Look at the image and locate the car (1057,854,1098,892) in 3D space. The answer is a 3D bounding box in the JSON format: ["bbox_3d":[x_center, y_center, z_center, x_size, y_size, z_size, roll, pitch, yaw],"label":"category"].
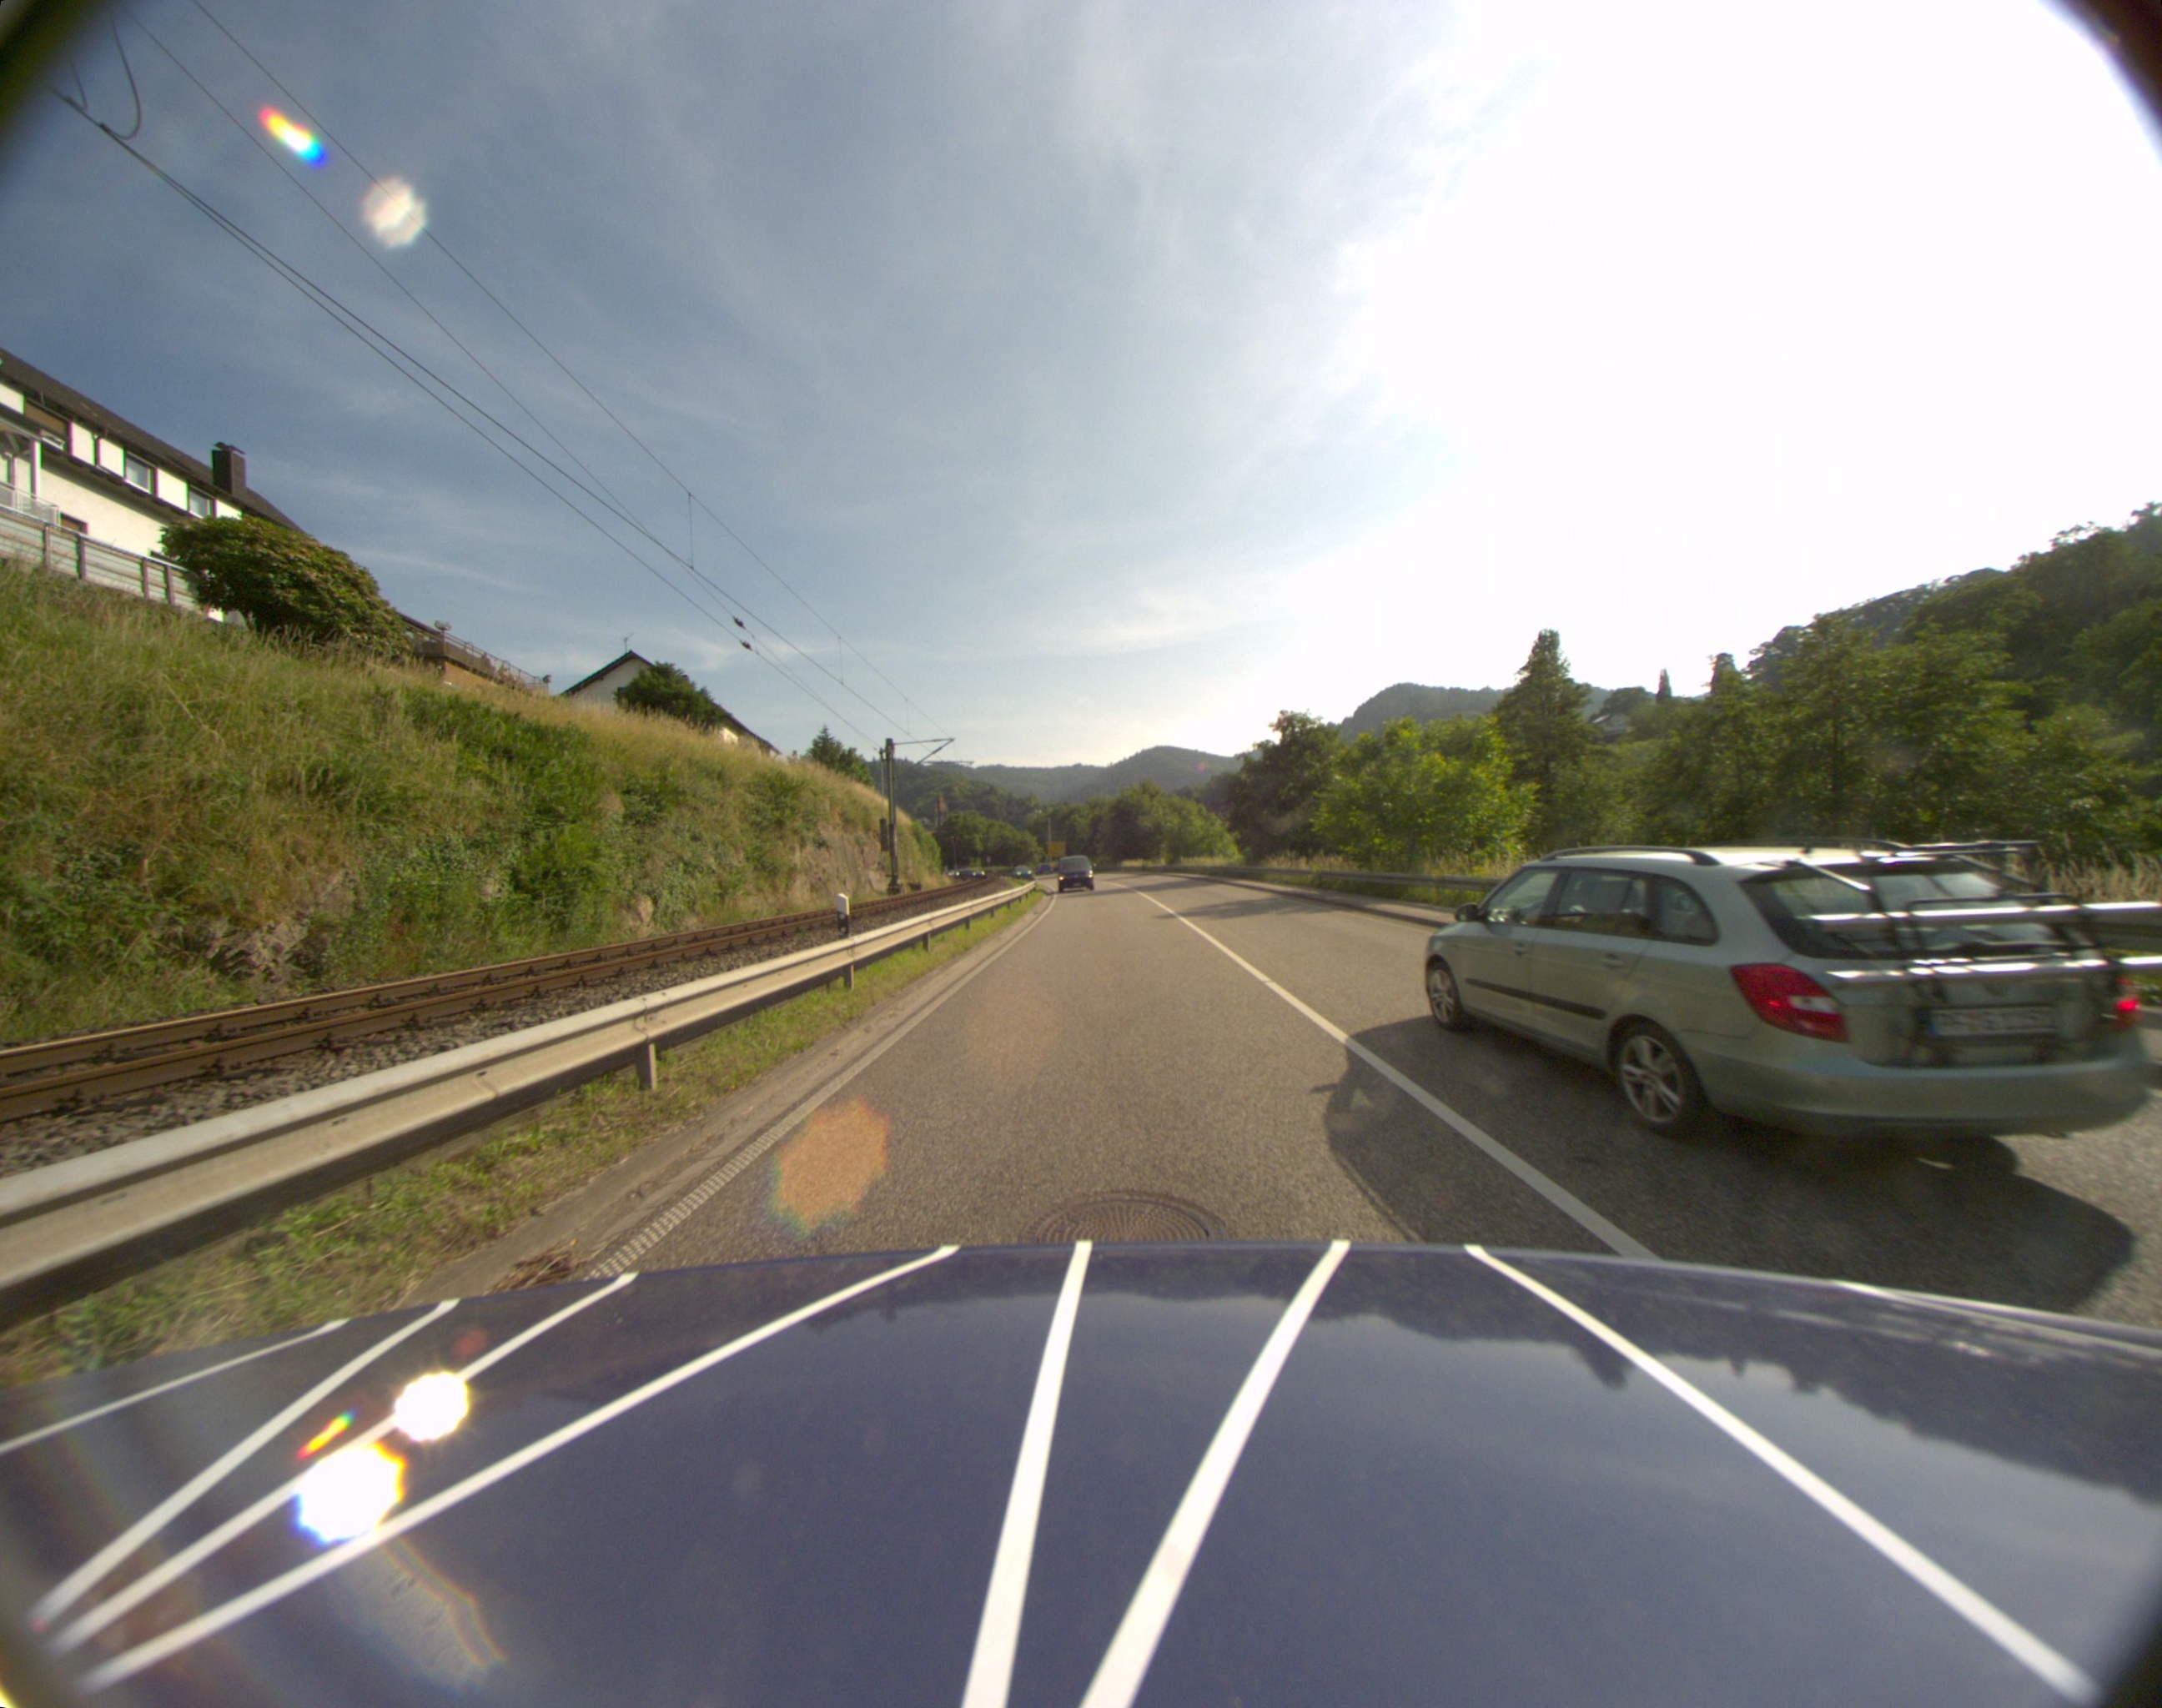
[{"bbox_3d":[-0.164,1.035,42.504,2.018,1.905,4.312,-4,0,0],"label":"car"}]

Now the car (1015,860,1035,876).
[{"bbox_3d":[-6.780,1.647,91.304,1.887,1.735,4.175,-2,0,-11],"label":"car"}]

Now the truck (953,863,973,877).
[{"bbox_3d":[-22.934,3.079,147.429,2.166,2.352,6.734,-6,1,-23],"label":"truck"}]

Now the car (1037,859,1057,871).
[{"bbox_3d":[-4.546,1.460,100.866,1.758,1.557,3.995,-2,0,-16],"label":"car"}]

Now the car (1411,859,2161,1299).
[{"bbox_3d":[3.673,0.797,4.640,1.581,1.470,4.000,-2,0,1],"label":"car"}]

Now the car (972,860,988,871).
[{"bbox_3d":[-16.352,1.870,123.075,1.888,1.735,4.173,-2,0,-17],"label":"car"}]
